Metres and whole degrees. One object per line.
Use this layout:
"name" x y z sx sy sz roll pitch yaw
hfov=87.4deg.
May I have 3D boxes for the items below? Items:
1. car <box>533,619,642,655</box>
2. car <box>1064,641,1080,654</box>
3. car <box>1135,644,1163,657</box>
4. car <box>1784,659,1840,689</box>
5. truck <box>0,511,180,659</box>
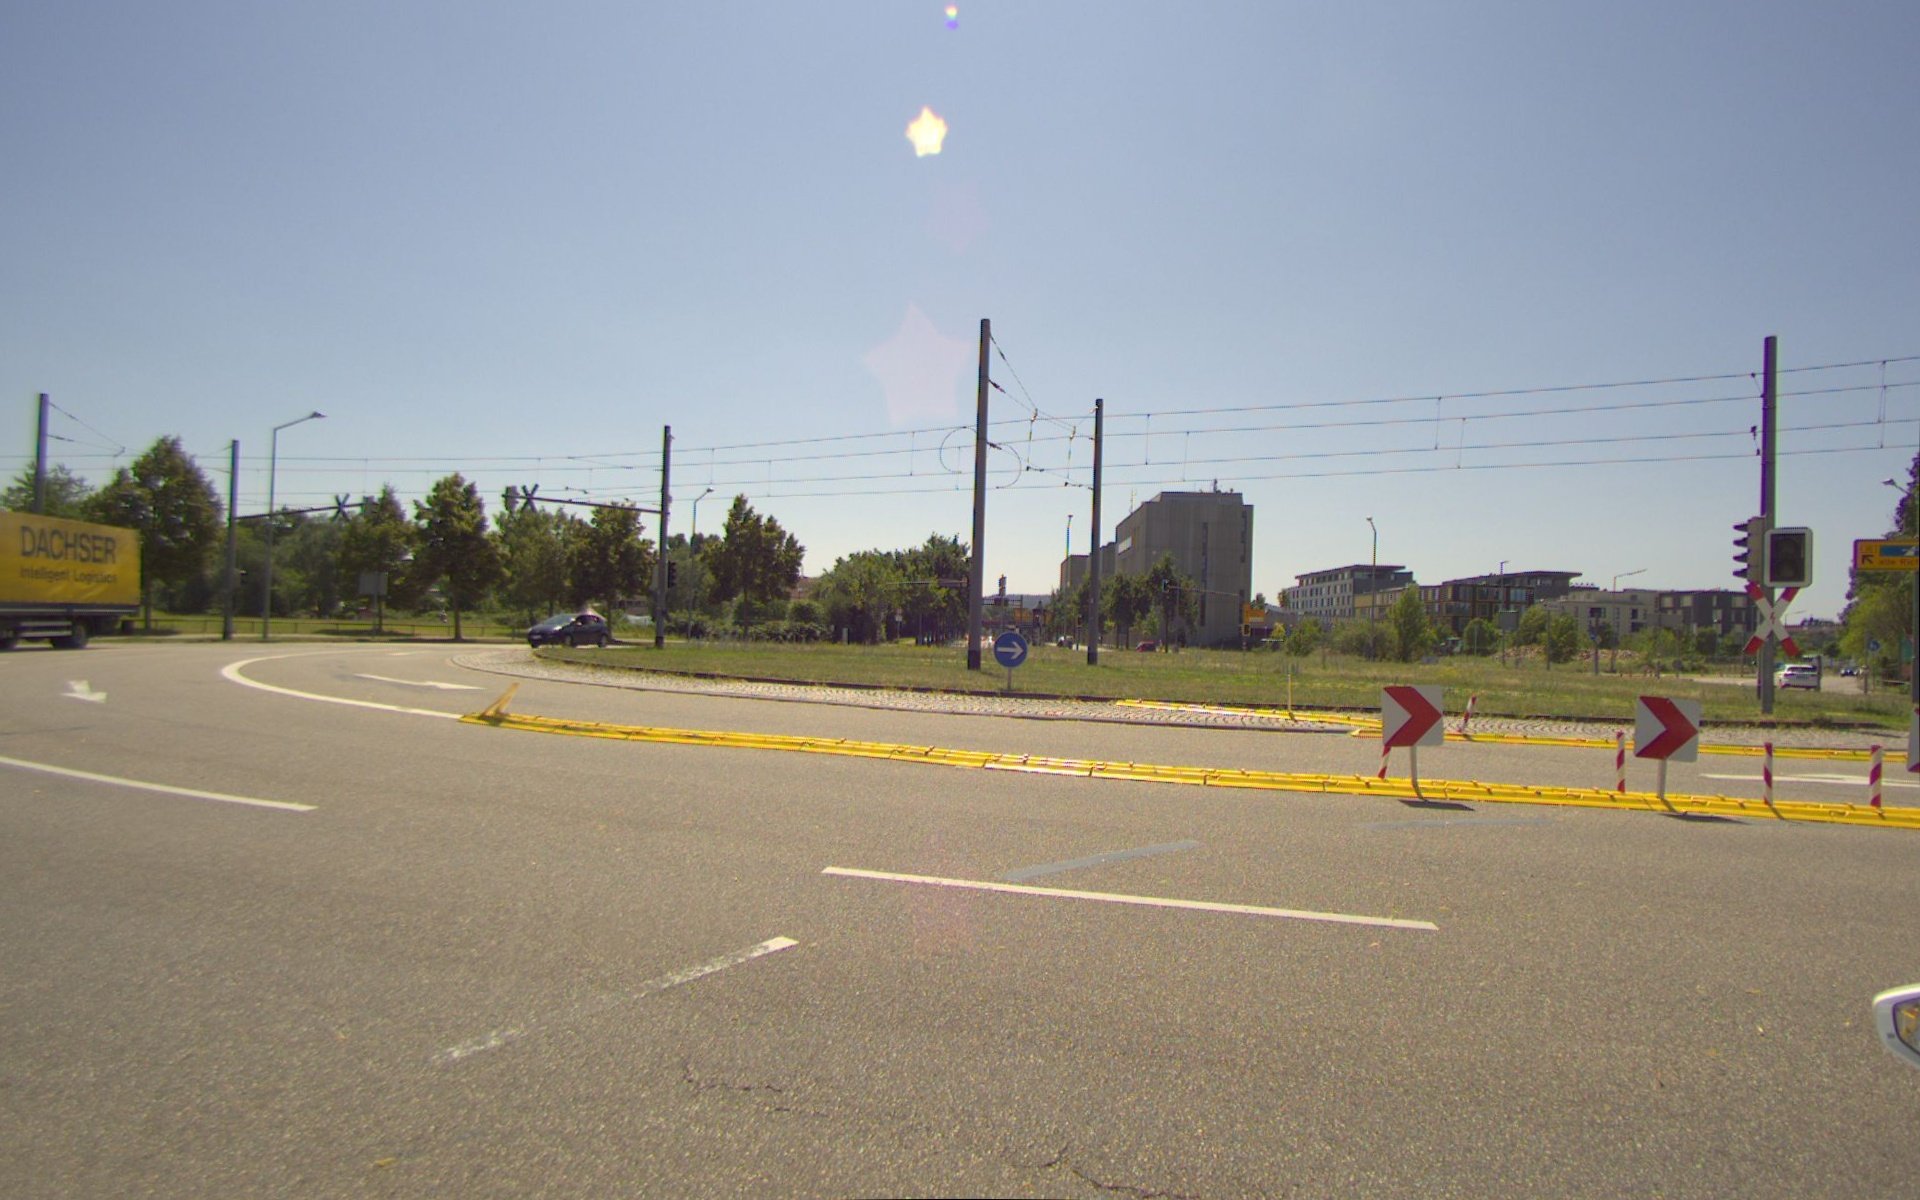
"car" -15.847 1.585 42.906 1.945 1.437 3.992 1 -1 31
"car" 14.282 6.068 128.663 1.725 1.427 3.402 2 -1 2
"car" 18.570 4.972 98.689 1.471 1.104 3.514 2 -1 -10
"car" 48.421 4.196 57.180 1.966 1.505 4.354 1 -2 34
"truck" -26.017 -0.347 28.047 2.661 3.707 9.594 2 -2 -12
